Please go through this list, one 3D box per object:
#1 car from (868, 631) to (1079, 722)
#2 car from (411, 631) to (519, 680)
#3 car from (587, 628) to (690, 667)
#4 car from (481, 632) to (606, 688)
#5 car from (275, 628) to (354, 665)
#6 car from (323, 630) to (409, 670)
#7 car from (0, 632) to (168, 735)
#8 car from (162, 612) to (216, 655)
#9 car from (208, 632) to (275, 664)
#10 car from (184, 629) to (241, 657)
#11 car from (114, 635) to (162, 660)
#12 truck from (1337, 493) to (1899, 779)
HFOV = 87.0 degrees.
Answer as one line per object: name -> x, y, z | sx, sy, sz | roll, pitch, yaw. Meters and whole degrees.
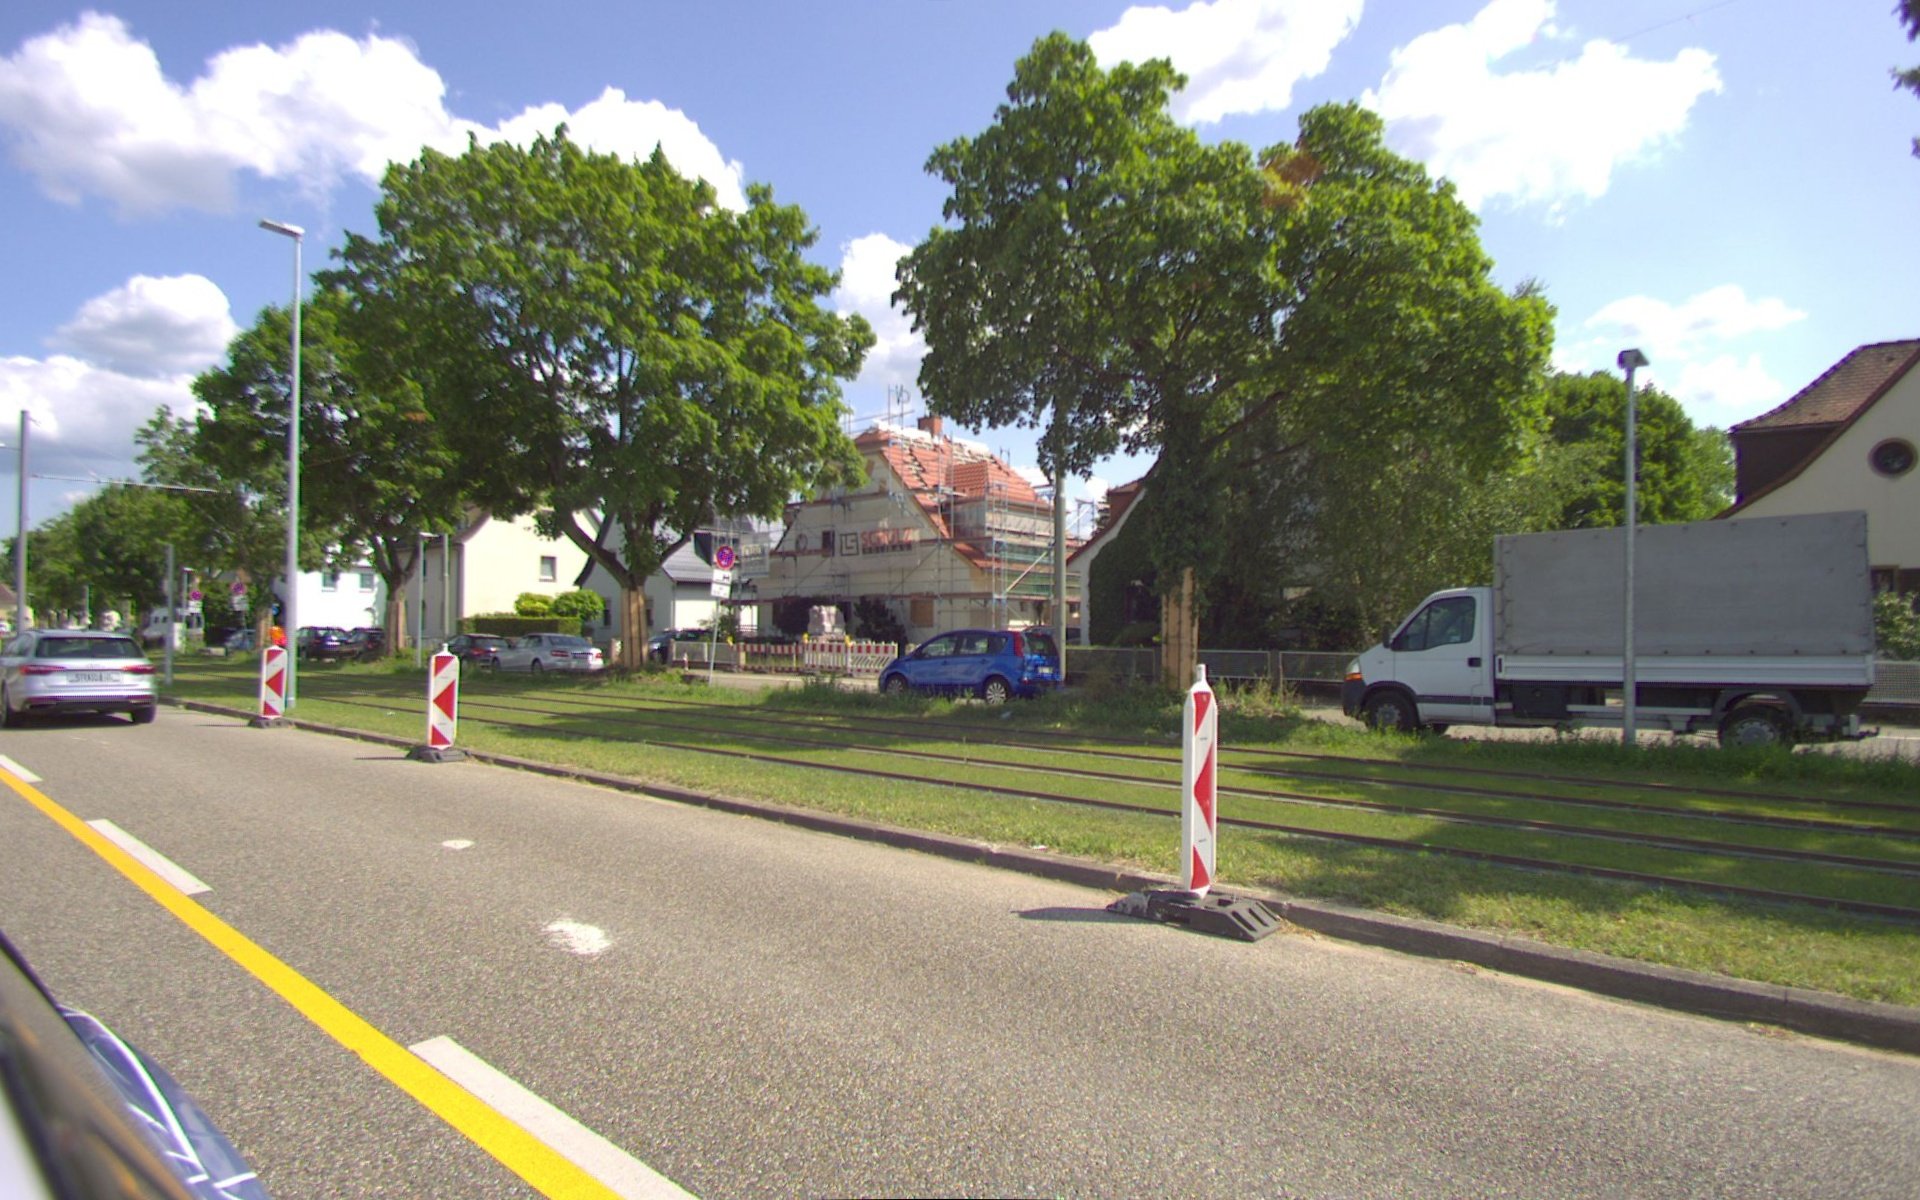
car -> 0.211, 1.445, 20.172 | 4.047, 1.623, 1.733 | -2, -3, 40
car -> -17.604, 1.918, 35.932 | 4.603, 1.623, 1.733 | -2, -3, 40
car -> -14.072, 2.050, 44.508 | 1.756, 1.623, 3.995 | -2, -3, 41
car -> -13.162, 1.833, 31.861 | 4.603, 1.623, 1.733 | -2, -3, 40
car -> -29.592, 2.102, 46.331 | 4.603, 1.623, 1.733 | -2, -3, 40
car -> -25.173, 2.077, 42.828 | 4.603, 1.623, 1.733 | -2, -3, 40
car -> -14.130, 1.217, 15.969 | 4.258, 1.424, 1.733 | -2, -3, 40
car -> -48.870, 2.112, 64.138 | 4.603, 2.636, 1.733 | -2, -3, 40
car -> -37.634, 2.472, 52.980 | 4.603, 1.623, 1.733 | -2, -3, 40
car -> -44.635, 2.557, 60.405 | 4.603, 1.623, 1.733 | -2, -3, 40
car -> -57.012, 3.272, 70.151 | 4.603, 1.623, 1.733 | -2, -3, 40
truck -> 8.285, 0.467, 13.356 | 5.871, 3.010, 1.982 | -2, -3, 41
